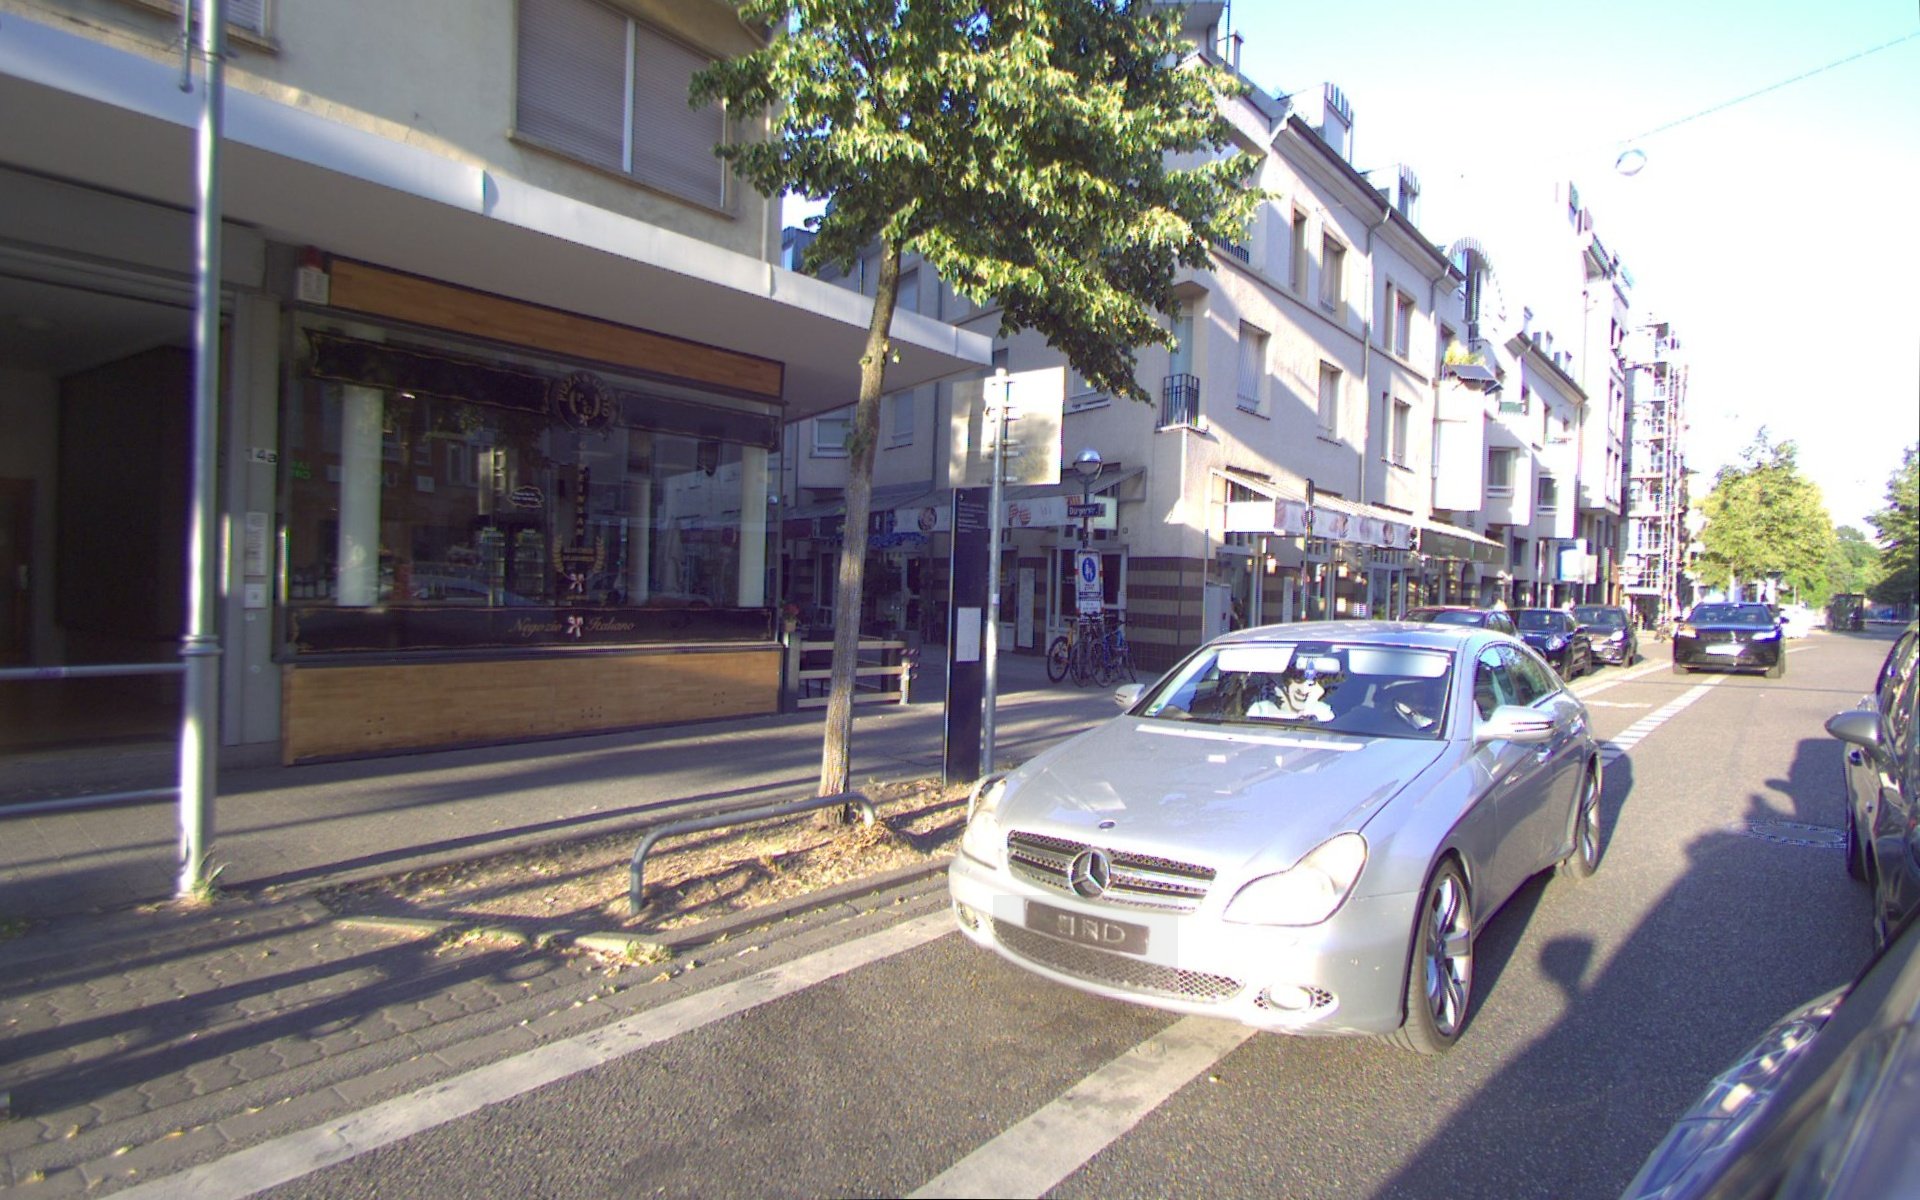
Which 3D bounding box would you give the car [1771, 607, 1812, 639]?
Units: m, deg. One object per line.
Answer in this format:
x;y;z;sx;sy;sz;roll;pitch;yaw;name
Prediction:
46.694;1.244;56.791;1.686;1.675;3.679;0;0;41;car

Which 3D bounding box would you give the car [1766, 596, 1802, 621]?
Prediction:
57.859;0.608;71.033;1.760;1.652;3.814;3;2;41;car

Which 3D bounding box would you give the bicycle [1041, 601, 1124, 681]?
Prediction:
1.934;0.607;15.760;0.330;1.144;1.986;1;1;37;bicycle

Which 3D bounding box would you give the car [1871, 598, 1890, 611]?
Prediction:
133.979;0.678;147.290;3.525;1.829;1.842;-1;0;-44;car

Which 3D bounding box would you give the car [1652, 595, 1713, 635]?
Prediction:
31.485;0.616;44.083;1.760;1.591;3.814;3;2;41;car

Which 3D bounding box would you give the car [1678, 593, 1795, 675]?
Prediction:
17.630;0.695;22.915;1.889;1.663;3.694;1;1;41;car

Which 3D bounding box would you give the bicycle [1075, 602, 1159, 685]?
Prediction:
2.413;0.628;15.380;0.330;1.144;1.986;3;2;37;bicycle

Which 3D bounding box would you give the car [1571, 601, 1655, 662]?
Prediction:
17.032;0.772;26.360;1.426;1.469;3.331;1;1;40;car

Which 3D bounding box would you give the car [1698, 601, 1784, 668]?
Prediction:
20.519;0.843;26.556;1.684;1.562;3.679;0;0;39;car

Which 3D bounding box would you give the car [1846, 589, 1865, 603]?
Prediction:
106.450;-0.515;120.318;1.667;1.660;3.207;0;0;42;car

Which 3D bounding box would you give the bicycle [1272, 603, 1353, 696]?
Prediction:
5.172;0.685;14.802;0.503;1.253;1.687;3;2;40;bicycle

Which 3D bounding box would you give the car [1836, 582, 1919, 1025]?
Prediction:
4.894;0.687;4.265;1.580;1.471;3.790;1;1;38;car

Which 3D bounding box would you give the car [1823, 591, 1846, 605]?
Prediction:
95.407;-0.246;110.431;3.173;1.490;1.612;-1;0;-44;car

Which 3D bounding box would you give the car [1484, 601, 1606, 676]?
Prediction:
12.091;0.723;20.821;1.608;1.412;3.642;0;0;39;car

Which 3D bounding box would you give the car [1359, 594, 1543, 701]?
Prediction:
7.759;0.659;15.825;1.647;1.446;3.940;0;0;41;car

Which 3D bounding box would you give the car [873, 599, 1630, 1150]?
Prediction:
1.816;0.701;4.895;1.784;1.386;4.504;0;0;41;car
